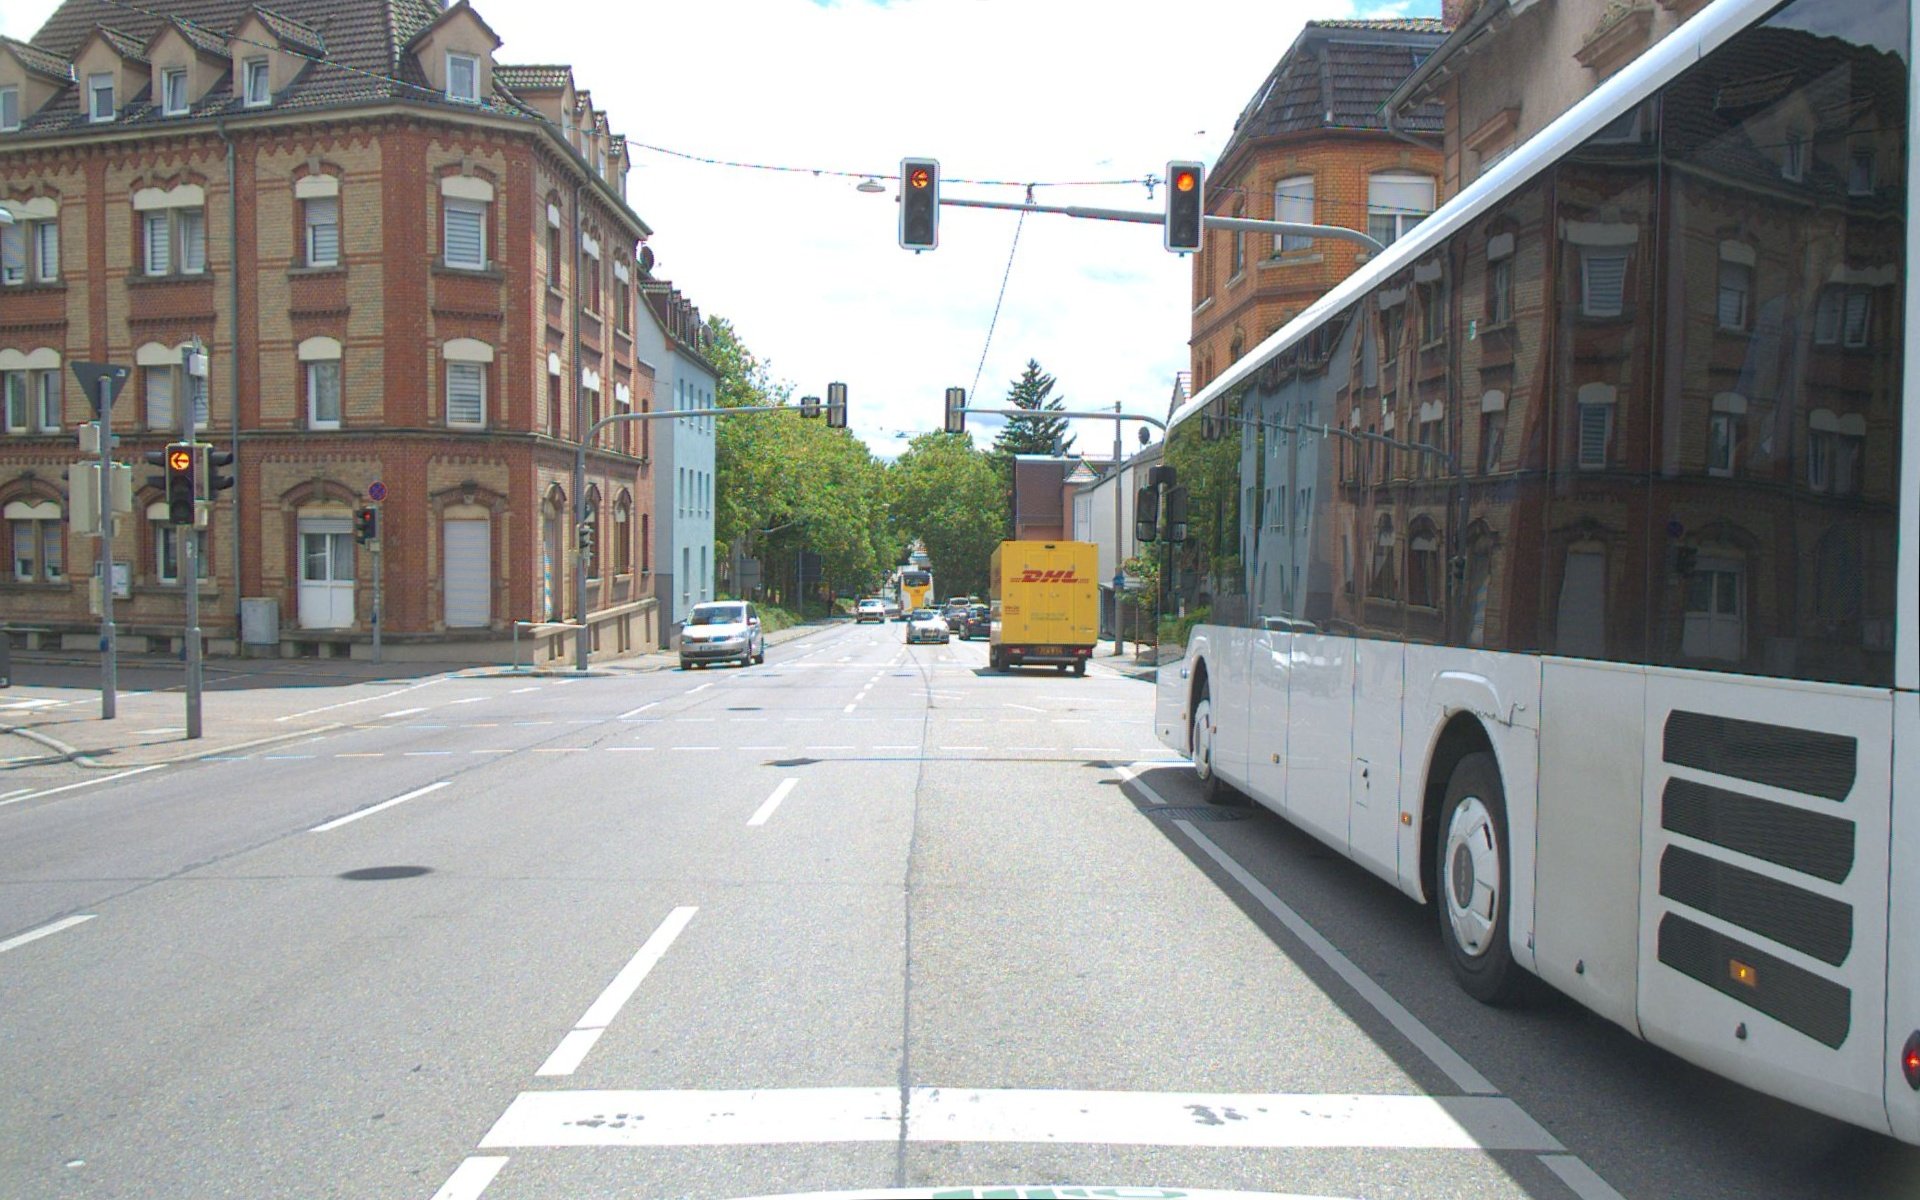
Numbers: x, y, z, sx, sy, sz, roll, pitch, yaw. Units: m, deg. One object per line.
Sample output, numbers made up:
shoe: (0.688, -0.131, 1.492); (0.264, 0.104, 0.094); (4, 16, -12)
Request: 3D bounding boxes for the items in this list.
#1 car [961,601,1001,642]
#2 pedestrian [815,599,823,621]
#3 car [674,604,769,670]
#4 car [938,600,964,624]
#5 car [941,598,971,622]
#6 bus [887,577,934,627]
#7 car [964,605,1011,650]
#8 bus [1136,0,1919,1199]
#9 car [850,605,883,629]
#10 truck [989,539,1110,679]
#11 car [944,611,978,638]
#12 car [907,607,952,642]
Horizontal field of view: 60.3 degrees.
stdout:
car: (0.954, 0.989, 77.310); (1.782, 1.816, 3.999); (0, 0, -1)
pedestrian: (-11.604, 0.828, 136.328); (0.594, 1.789, 0.653); (0, 0, -2)
car: (-6.179, 0.928, 43.204); (1.896, 1.591, 4.388); (0, 0, -1)
car: (-0.582, 0.724, 101.268); (1.576, 1.400, 3.999); (0, 0, -1)
car: (-0.337, 0.755, 129.532); (2.050, 1.862, 4.139); (0, 0, -4)
bus: (-3.901, 0.152, 128.716); (3.235, 3.694, 11.235); (-1, 0, -4)
car: (1.242, 1.258, 77.329); (1.954, 2.049, 3.998); (-1, 0, -3)
bus: (3.204, -0.285, 9.441); (2.845, 3.571, 12.484); (1, 0, -1)
car: (-6.652, 1.178, 118.421); (2.162, 1.641, 4.546); (0, 0, -1)
truck: (1.991, 0.206, 38.937); (2.489, 2.964, 6.572); (1, 0, 0)
car: (0.022, 1.355, 91.139); (1.827, 1.391, 4.546); (0, 0, -1)
car: (-1.283, 0.995, 69.324); (1.827, 1.391, 4.546); (0, 0, -1)
